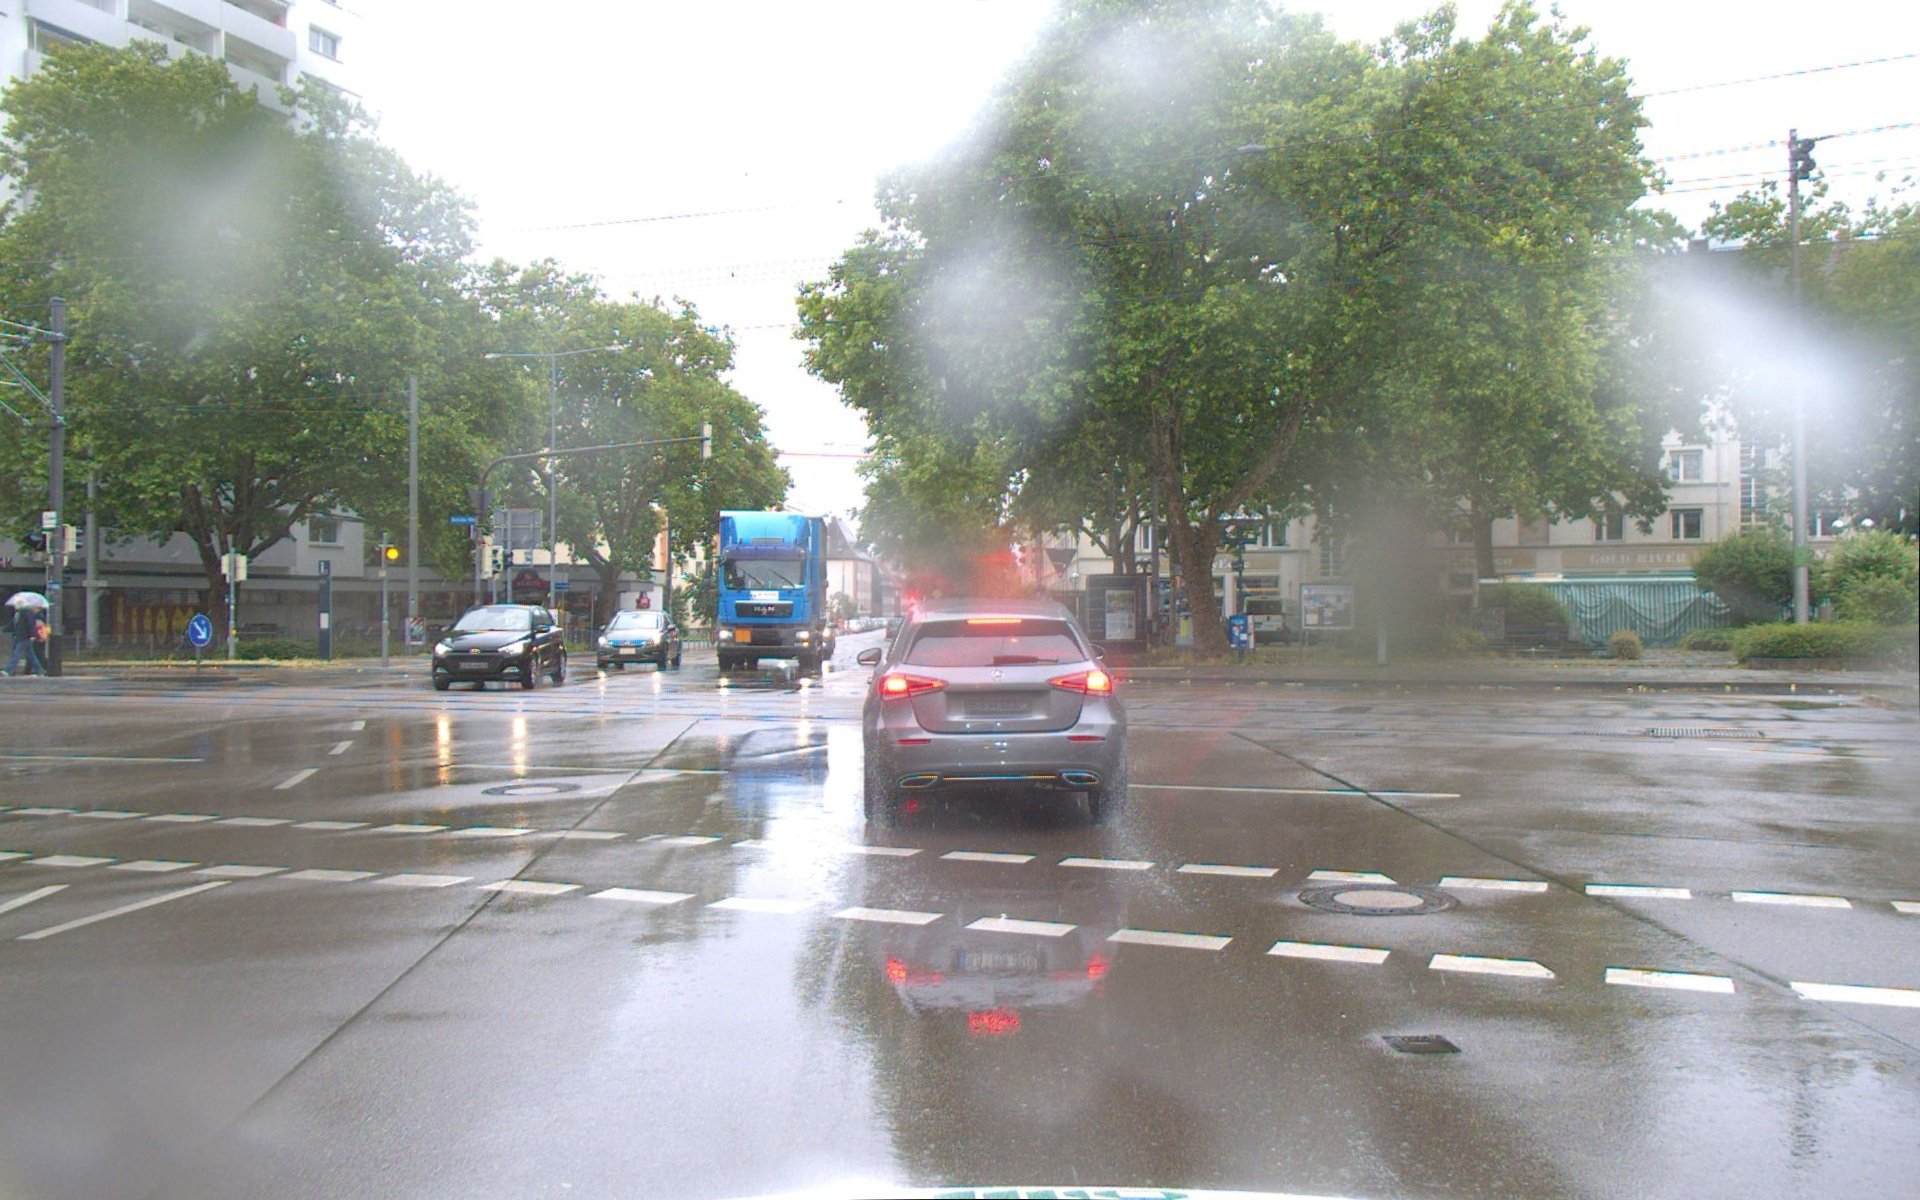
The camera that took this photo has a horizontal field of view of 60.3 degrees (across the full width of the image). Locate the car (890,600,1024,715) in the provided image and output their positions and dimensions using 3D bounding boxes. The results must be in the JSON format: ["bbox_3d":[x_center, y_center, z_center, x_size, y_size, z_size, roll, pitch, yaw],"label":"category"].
[{"bbox_3d":[-0.120,0.737,22.565,1.575,1.396,3.997,-1,-1,-3],"label":"car"}]

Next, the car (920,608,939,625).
[{"bbox_3d":[-3.506,1.919,188.182,2.004,1.868,4.792,-1,-1,0],"label":"car"}]

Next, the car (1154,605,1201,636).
[{"bbox_3d":[10.442,0.989,79.234,1.550,1.360,3.262,-1,-3,20],"label":"car"}]

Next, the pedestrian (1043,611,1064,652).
[{"bbox_3d":[3.889,1.297,68.578,0.704,1.698,0.663,0,-1,-14],"label":"pedestrian"}]

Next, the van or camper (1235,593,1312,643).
[{"bbox_3d":[14.836,0.859,78.085,2.348,2.270,5.426,-1,-1,24],"label":"van or camper"}]

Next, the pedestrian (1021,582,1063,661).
[{"bbox_3d":[1.512,0.396,30.645,0.728,1.422,1.047,-1,-1,3],"label":"pedestrian"}]

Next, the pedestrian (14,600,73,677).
[{"bbox_3d":[-20.284,0.854,36.616,0.775,1.677,0.817,-2,-1,21],"label":"pedestrian"}]

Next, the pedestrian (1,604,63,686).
[{"bbox_3d":[-19.309,0.932,34.423,0.817,1.677,0.756,-2,-1,12],"label":"pedestrian"}]

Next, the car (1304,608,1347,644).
[{"bbox_3d":[16.990,1.233,76.711,1.644,1.603,3.737,-1,-2,17],"label":"car"}]

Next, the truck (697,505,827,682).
[{"bbox_3d":[-5.063,-0.089,43.916,2.789,4.096,10.307,-1,-1,-4],"label":"truck"}]

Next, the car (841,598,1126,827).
[{"bbox_3d":[0.055,0.718,12.001,1.755,1.396,3.504,1,-1,-3],"label":"car"}]

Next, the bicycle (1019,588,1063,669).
[{"bbox_3d":[1.509,0.513,30.382,0.733,1.401,2.708,-1,-1,4],"label":"bicycle"}]

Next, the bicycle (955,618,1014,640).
[{"bbox_3d":[1.403,1.629,93.492,3.161,1.132,1.047,0,-4,-22],"label":"bicycle"}]

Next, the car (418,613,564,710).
[{"bbox_3d":[-8.238,1.046,29.367,1.709,1.573,3.775,-1,-1,-4],"label":"car"}]

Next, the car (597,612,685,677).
[{"bbox_3d":[-8.270,1.116,43.160,1.692,1.573,4.336,-1,-1,-4],"label":"car"}]

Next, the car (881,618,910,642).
[{"bbox_3d":[-4.561,2.102,116.528,1.954,1.601,3.996,-1,-1,-4],"label":"car"}]

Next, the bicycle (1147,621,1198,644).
[{"bbox_3d":[9.542,1.461,74.307,2.200,0.985,0.585,-1,-1,20],"label":"bicycle"}]
